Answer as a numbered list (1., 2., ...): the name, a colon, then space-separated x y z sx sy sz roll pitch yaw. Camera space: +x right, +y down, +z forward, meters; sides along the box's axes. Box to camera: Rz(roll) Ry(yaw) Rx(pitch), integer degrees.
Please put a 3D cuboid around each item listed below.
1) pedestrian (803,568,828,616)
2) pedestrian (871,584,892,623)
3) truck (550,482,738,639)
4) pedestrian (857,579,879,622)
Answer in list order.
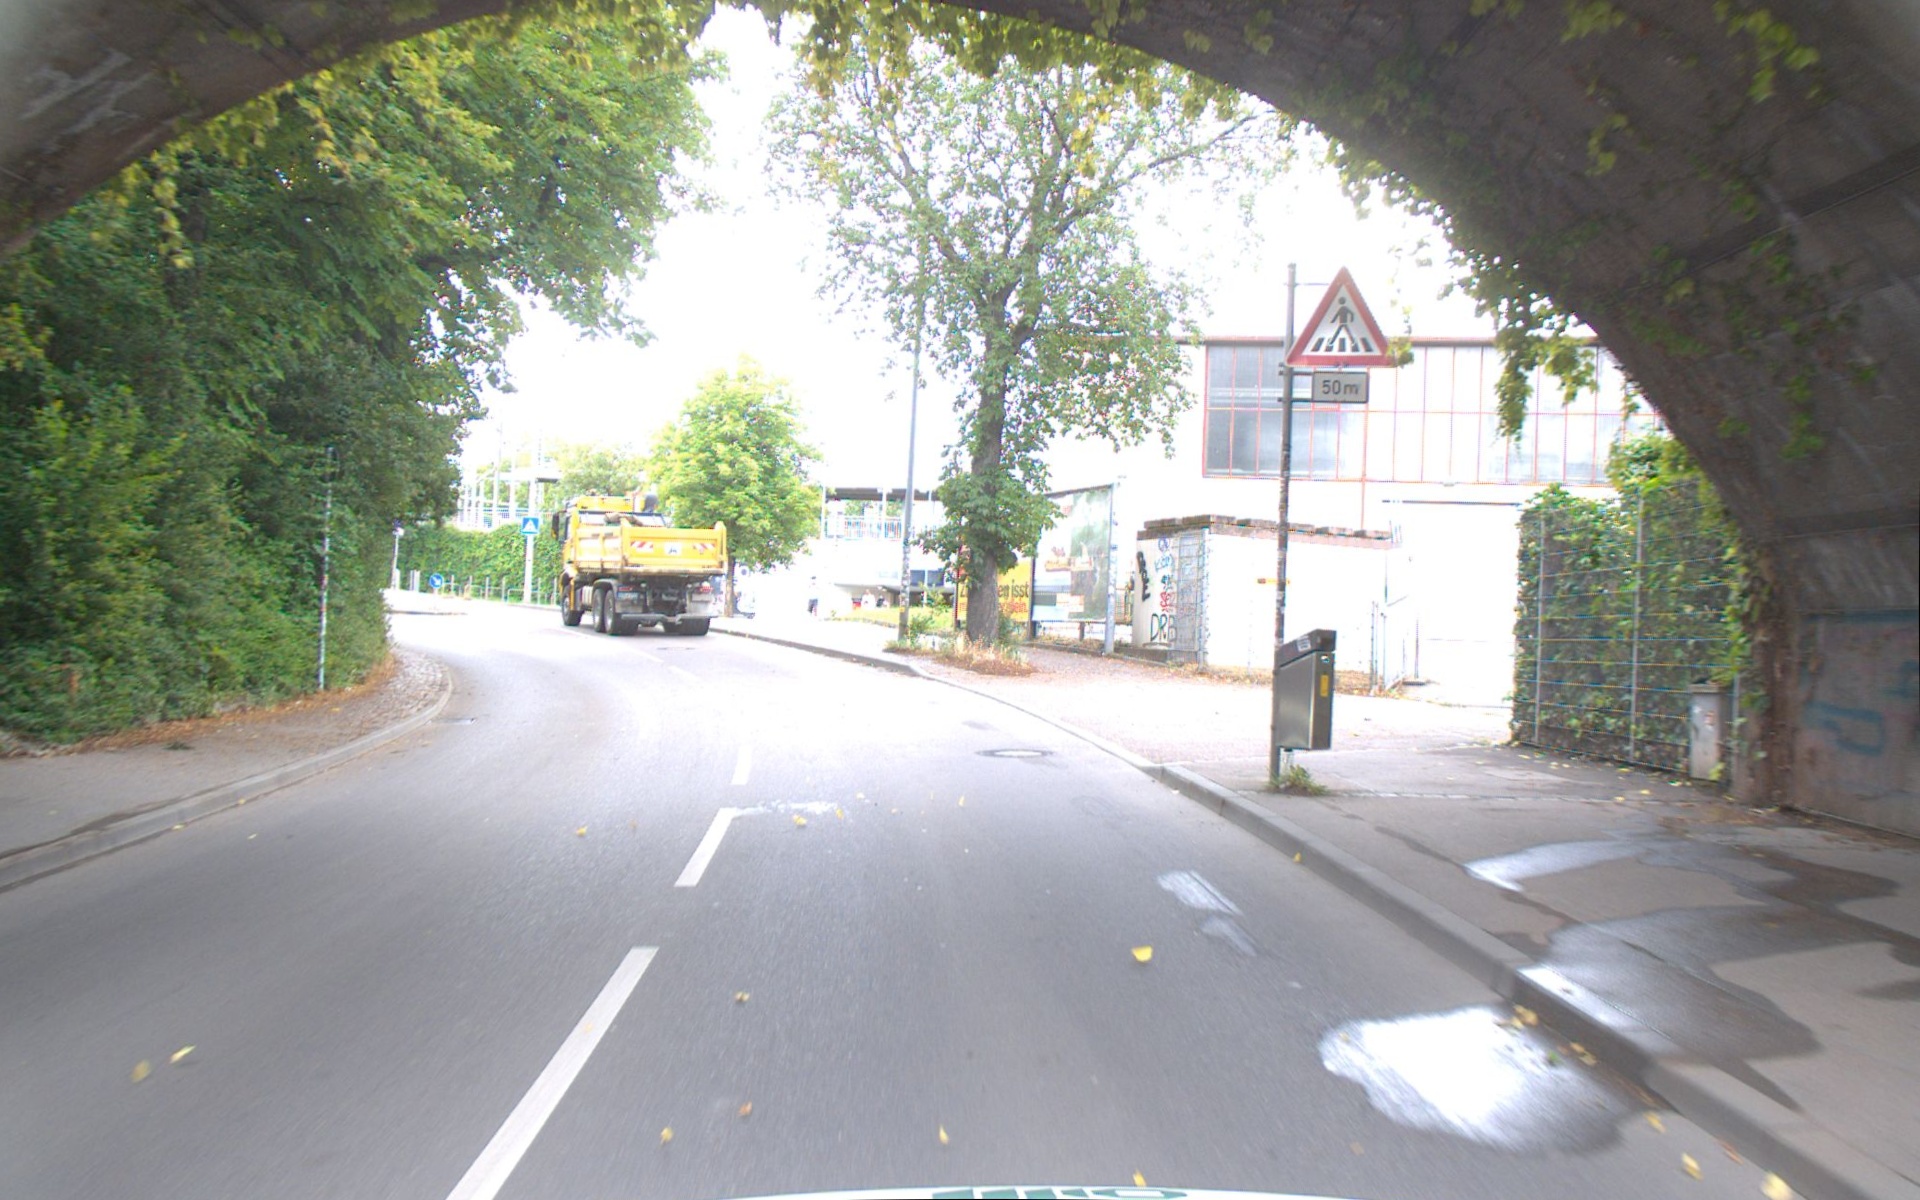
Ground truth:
1. pedestrian: -5.295 -0.270 60.602 0.831 1.713 0.939 1 -2 -4
2. pedestrian: -3.353 0.149 70.500 0.783 1.611 0.802 2 -2 0
3. truck: -8.305 -1.090 42.570 2.730 3.543 8.067 3 1 -25
4. pedestrian: -3.834 0.023 68.852 0.797 1.732 0.749 2 -2 0
